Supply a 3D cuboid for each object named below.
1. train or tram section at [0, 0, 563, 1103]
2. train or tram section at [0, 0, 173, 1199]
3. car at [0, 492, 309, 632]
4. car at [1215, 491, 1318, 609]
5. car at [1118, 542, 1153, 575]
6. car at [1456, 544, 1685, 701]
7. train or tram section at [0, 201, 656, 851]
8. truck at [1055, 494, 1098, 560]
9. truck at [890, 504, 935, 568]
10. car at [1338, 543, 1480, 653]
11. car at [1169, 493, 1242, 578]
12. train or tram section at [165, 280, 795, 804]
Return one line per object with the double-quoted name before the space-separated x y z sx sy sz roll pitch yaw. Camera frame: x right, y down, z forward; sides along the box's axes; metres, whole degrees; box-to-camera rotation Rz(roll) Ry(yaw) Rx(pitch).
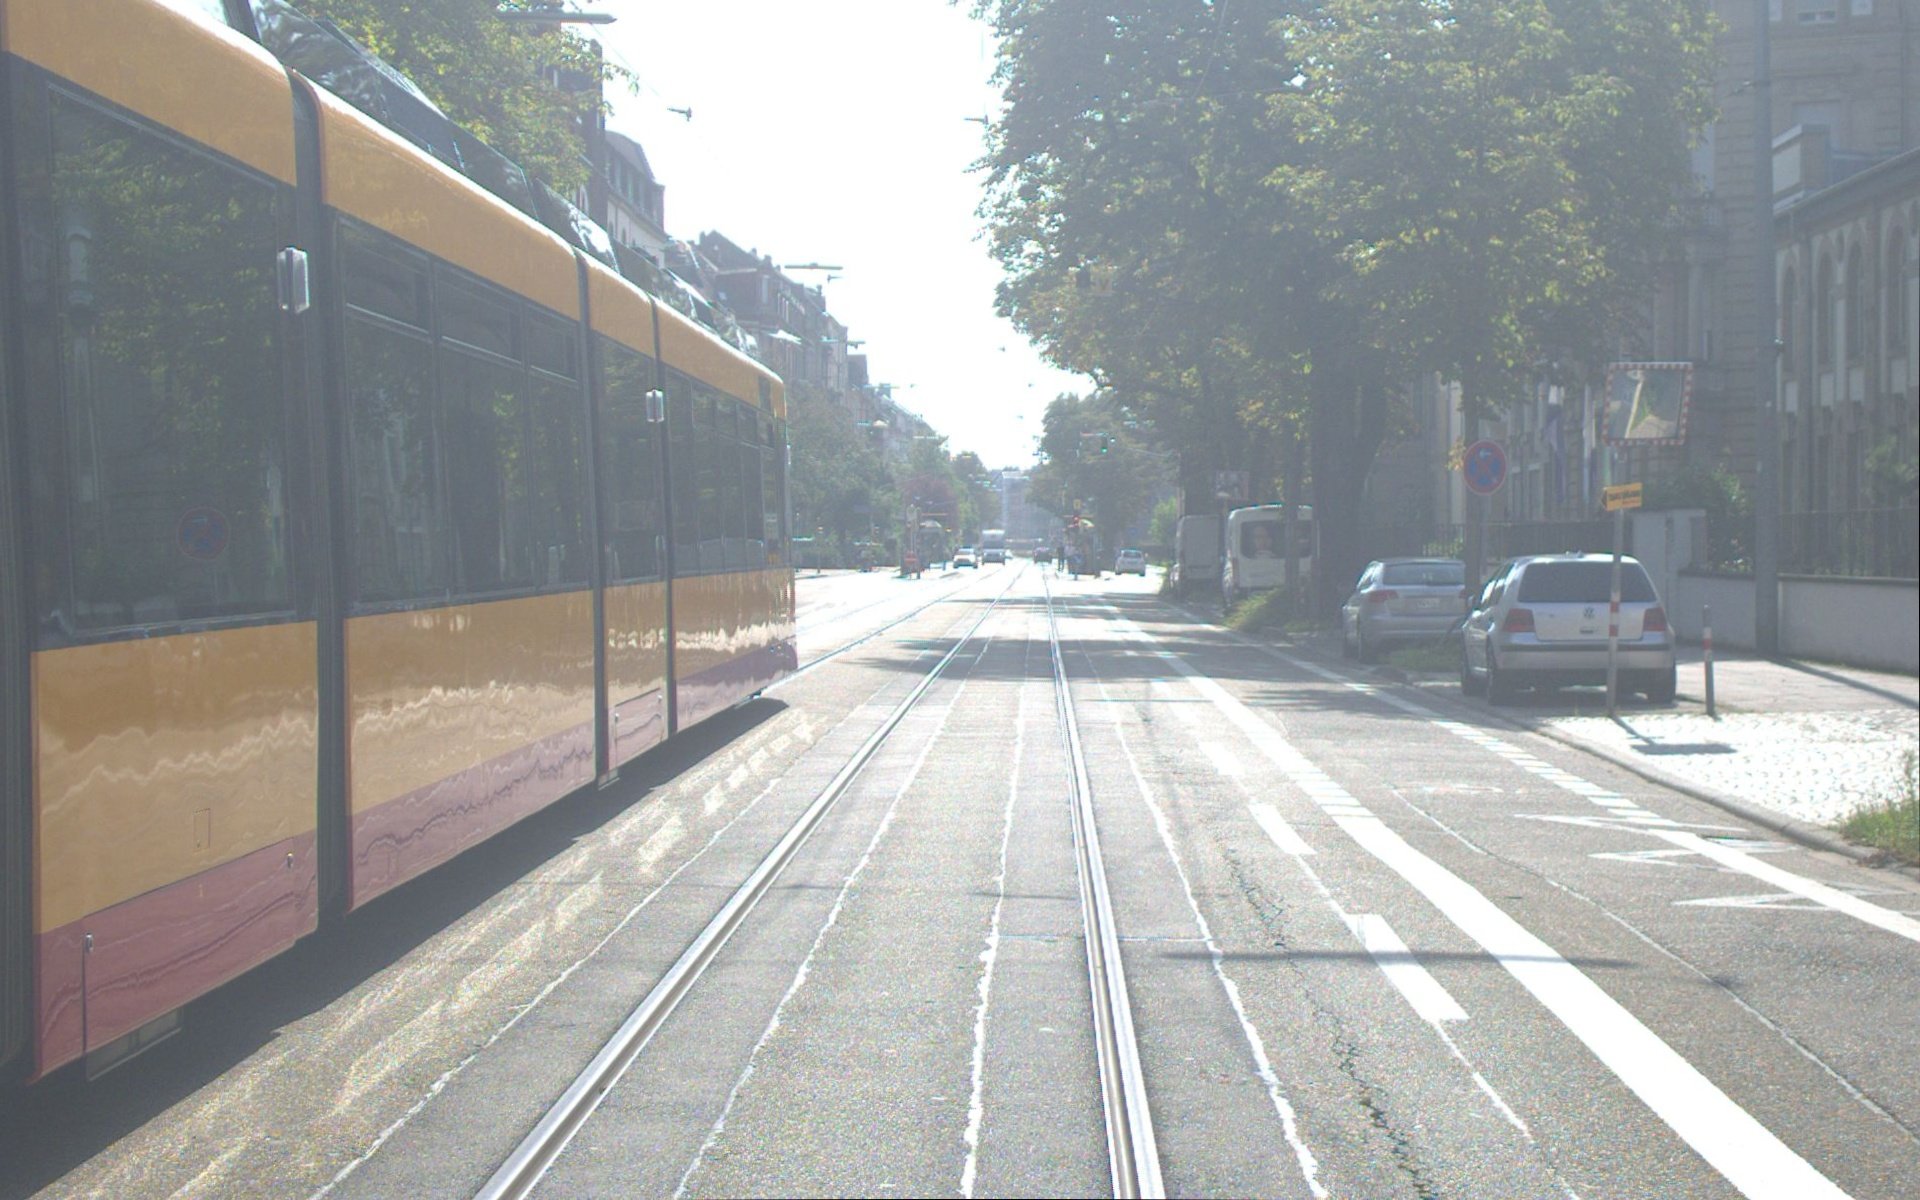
"train or tram section" -3.187 -0.235 11.790 2.729 2.839 6.543 0 1 2
"train or tram section" -3.482 -0.004 0.667 2.729 2.884 15.455 0 1 1
"car" -9.060 -0.424 37.271 1.569 1.438 3.754 1 2 42
"car" 6.667 -1.111 75.194 2.005 2.482 4.477 0 1 2
"car" 10.195 -2.425 199.408 1.994 1.831 4.000 0 1 3
"car" 5.835 0.173 33.215 1.690 1.413 3.634 0 1 2
"train or tram section" -3.055 -0.357 16.914 2.706 2.847 3.649 0 1 2
"truck" 5.544 -3.482 163.831 1.860 3.120 4.353 0 1 0
"truck" -2.259 -3.057 163.984 1.993 2.965 4.571 0 1 1
"car" 6.088 -0.058 46.935 1.595 1.413 3.634 0 1 2
"car" 7.273 -1.929 102.051 2.005 2.466 4.477 0 1 2
"train or tram section" -2.874 -0.412 24.030 2.680 2.852 10.544 0 1 1
